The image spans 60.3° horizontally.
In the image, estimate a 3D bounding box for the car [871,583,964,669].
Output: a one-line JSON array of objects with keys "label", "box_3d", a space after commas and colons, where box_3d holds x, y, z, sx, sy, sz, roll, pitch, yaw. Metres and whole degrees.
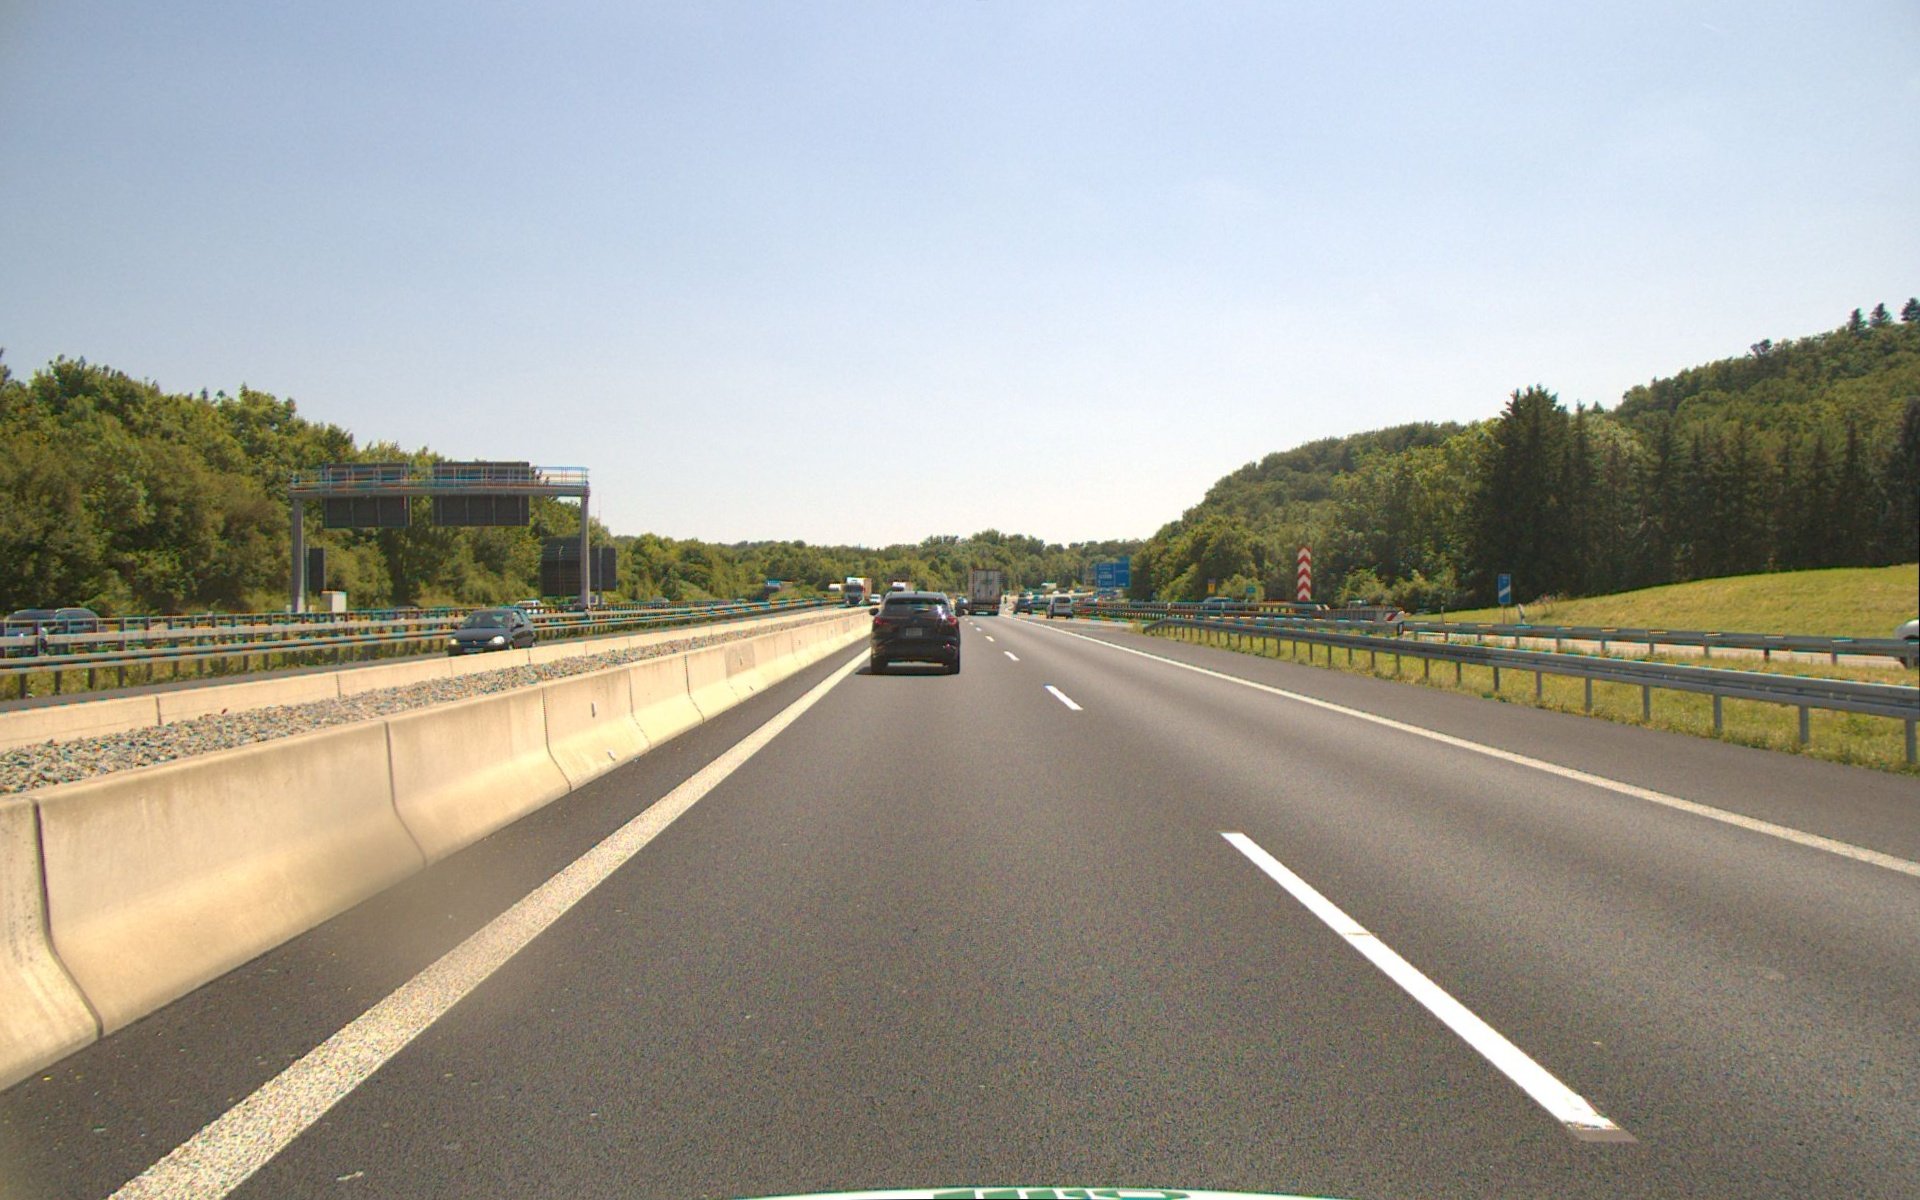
[{"label": "car", "box_3d": [-0.923, 0.508, 33.946, 1.744, 1.605, 3.997, 2, 0, -3]}]

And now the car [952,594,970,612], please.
[{"label": "car", "box_3d": [0.115, 0.377, 205.138, 2.094, 2.255, 5.087, 1, 0, -1]}]

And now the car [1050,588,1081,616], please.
[{"label": "car", "box_3d": [8.309, 0.168, 130.438, 1.954, 2.049, 3.997, -2, 0, -3]}]

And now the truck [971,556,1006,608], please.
[{"label": "truck", "box_3d": [2.676, -1.589, 151.130, 2.969, 4.496, 12.021, 1, 0, 2]}]

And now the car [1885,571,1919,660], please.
[{"label": "car", "box_3d": [19.527, 0.312, 30.510, 1.957, 1.691, 4.458, 1, 0, -10]}]

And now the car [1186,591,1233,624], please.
[{"label": "car", "box_3d": [16.226, 0.497, 107.688, 1.956, 2.049, 3.994, -2, 0, -7]}]

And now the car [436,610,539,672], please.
[{"label": "car", "box_3d": [-12.623, 1.056, 44.454, 1.797, 1.561, 4.156, 1, 0, -4]}]

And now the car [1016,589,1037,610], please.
[{"label": "car", "box_3d": [6.669, 0.004, 166.604, 1.953, 2.049, 3.999, 1, 0, -1]}]

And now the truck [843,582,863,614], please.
[{"label": "truck", "box_3d": [-14.706, -0.241, 227.114, 2.653, 4.363, 4.548, 1, 0, -6]}]
